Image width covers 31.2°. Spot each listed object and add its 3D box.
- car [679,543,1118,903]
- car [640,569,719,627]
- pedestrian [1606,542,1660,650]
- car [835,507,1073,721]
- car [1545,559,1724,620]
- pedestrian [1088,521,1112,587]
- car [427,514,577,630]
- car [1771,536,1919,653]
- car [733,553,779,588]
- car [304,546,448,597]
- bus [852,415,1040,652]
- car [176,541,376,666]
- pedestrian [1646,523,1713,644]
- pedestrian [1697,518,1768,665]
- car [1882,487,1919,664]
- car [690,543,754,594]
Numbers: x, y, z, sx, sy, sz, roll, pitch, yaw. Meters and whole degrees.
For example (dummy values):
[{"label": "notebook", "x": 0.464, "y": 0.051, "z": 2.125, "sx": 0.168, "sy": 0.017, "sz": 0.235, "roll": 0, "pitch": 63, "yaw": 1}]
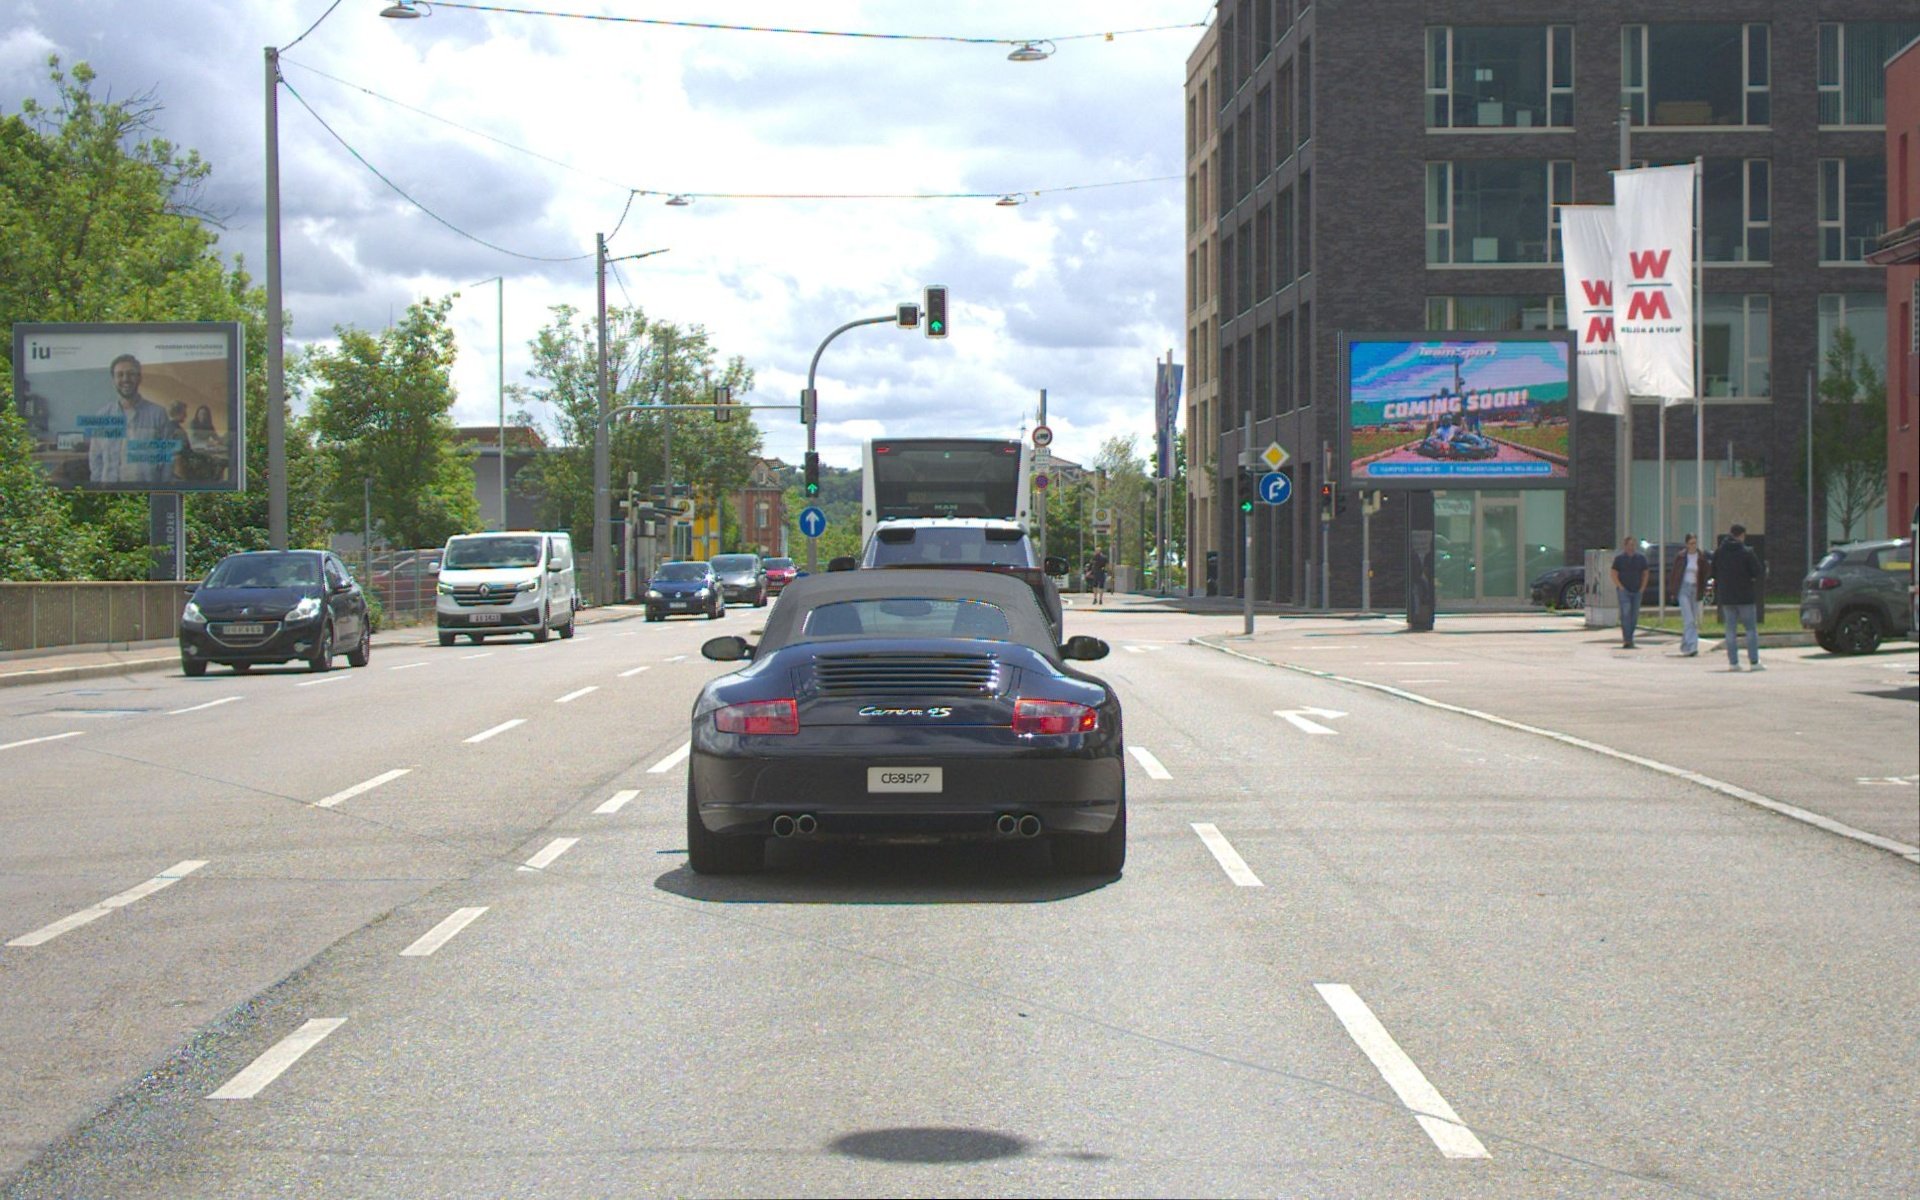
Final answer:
[{"label": "car", "x": -0.261, "y": 0.456, "z": 15.699, "sx": 1.720, "sy": 1.270, "sz": 4.088, "roll": 1, "pitch": 3, "yaw": 0}, {"label": "car", "x": -6.967, "y": -0.065, "z": 85.632, "sx": 1.662, "sy": 1.411, "sz": 3.803, "roll": 0, "pitch": 1, "yaw": 0}, {"label": "pedestrian", "x": 10.386, "y": -0.059, "z": 53.069, "sx": 0.670, "sy": 1.655, "sz": 0.742, "roll": 0, "pitch": 0, "yaw": -1}, {"label": "car", "x": -0.127, "y": 0.055, "z": 29.783, "sx": 1.879, "sy": 1.588, "sz": 4.230, "roll": 1, "pitch": 3, "yaw": -2}, {"label": "car", "x": 15.882, "y": -0.249, "z": 81.022, "sx": 3.929, "sy": 1.426, "sz": 1.474, "roll": 0, "pitch": 1, "yaw": 0}, {"label": "pedestrian", "x": 4.314, "y": -1.414, "z": 105.934, "sx": 0.666, "sy": 2.007, "sz": 0.769, "roll": 0, "pitch": 0, "yaw": -2}, {"label": "car", "x": -7.993, "y": -0.495, "z": 60.446, "sx": 1.901, "sy": 1.880, "sz": 5.313, "roll": -2, "pitch": 1, "yaw": 0}, {"label": "car", "x": 12.988, "y": -0.139, "z": 46.069, "sx": 3.759, "sy": 1.436, "sz": 1.719, "roll": -4, "pitch": 0, "yaw": 1}, {"label": "car", "x": -8.342, "y": -1.205, "z": 141.035, "sx": 1.662, "sy": 1.411, "sz": 3.803, "roll": 0, "pitch": 1, "yaw": 0}, {"label": "car", "x": -14.552, "y": -0.719, "z": 85.727, "sx": 3.511, "sy": 1.259, "sz": 1.390, "roll": 0, "pitch": 1, "yaw": -9}, {"label": "bus", "x": -0.152, "y": -1.306, "z": 56.892, "sx": 2.689, "sy": 3.244, "sz": 12.060, "roll": 2, "pitch": 4, "yaw": 0}, {"label": "car", "x": -8.137, "y": 0.018, "z": 41.190, "sx": 1.628, "sy": 1.425, "sz": 4.000, "roll": 0, "pitch": 1, "yaw": 0}, {"label": "pedestrian", "x": 10.163, "y": -0.231, "z": 48.582, "sx": 0.707, "sy": 1.690, "sz": 0.924, "roll": 0, "pitch": 1, "yaw": -3}, {"label": "pedestrian", "x": 8.967, "y": -0.104, "z": 39.883, "sx": 0.681, "sy": 1.690, "sz": 0.597, "roll": 1, "pitch": 1, "yaw": 25}, {"label": "car", "x": 12.618, "y": -0.354, "z": 38.057, "sx": 4.231, "sy": 1.930, "sz": 2.029, "roll": -2, "pitch": 0, "yaw": 1}, {"label": "car", "x": -7.242, "y": -0.958, "z": 104.924, "sx": 1.662, "sy": 1.542, "sz": 3.803, "roll": 0, "pitch": 1, "yaw": 0}]
